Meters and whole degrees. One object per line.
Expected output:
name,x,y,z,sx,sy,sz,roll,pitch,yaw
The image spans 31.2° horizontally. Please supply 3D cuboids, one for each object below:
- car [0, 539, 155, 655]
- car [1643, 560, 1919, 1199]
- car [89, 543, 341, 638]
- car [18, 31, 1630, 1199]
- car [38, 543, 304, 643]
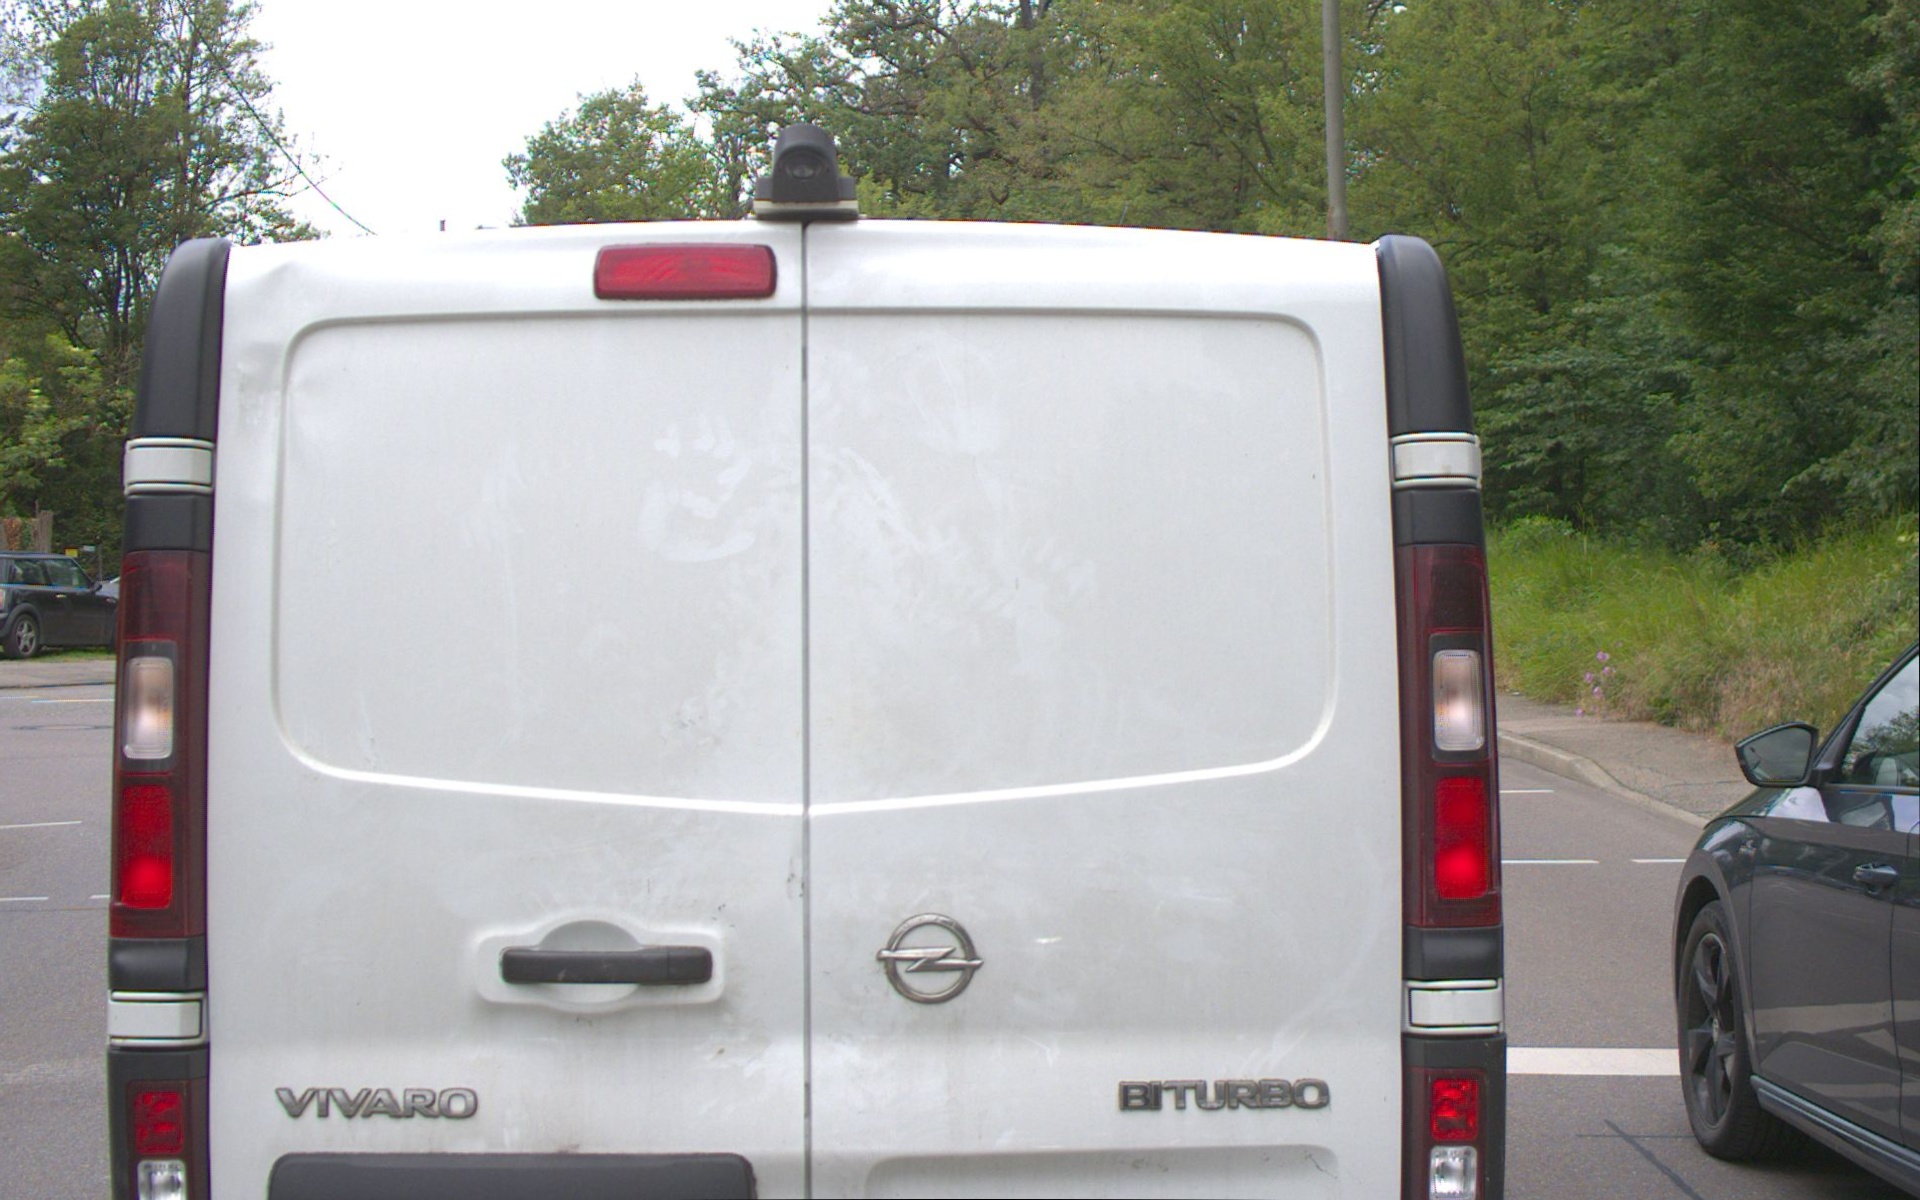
car,-12.462,-0.068,45.824,1.699,1.444,3.540,2,1,19
car,2.698,0.662,6.788,1.792,1.445,4.001,0,1,-2
car,-12.801,-0.182,59.033,4.085,1.548,1.855,-1,2,-17
car,-0.275,0.317,6.462,1.916,2.046,4.615,1,1,-3
car,-12.859,-0.135,55.961,4.085,1.548,1.855,-1,2,-17
